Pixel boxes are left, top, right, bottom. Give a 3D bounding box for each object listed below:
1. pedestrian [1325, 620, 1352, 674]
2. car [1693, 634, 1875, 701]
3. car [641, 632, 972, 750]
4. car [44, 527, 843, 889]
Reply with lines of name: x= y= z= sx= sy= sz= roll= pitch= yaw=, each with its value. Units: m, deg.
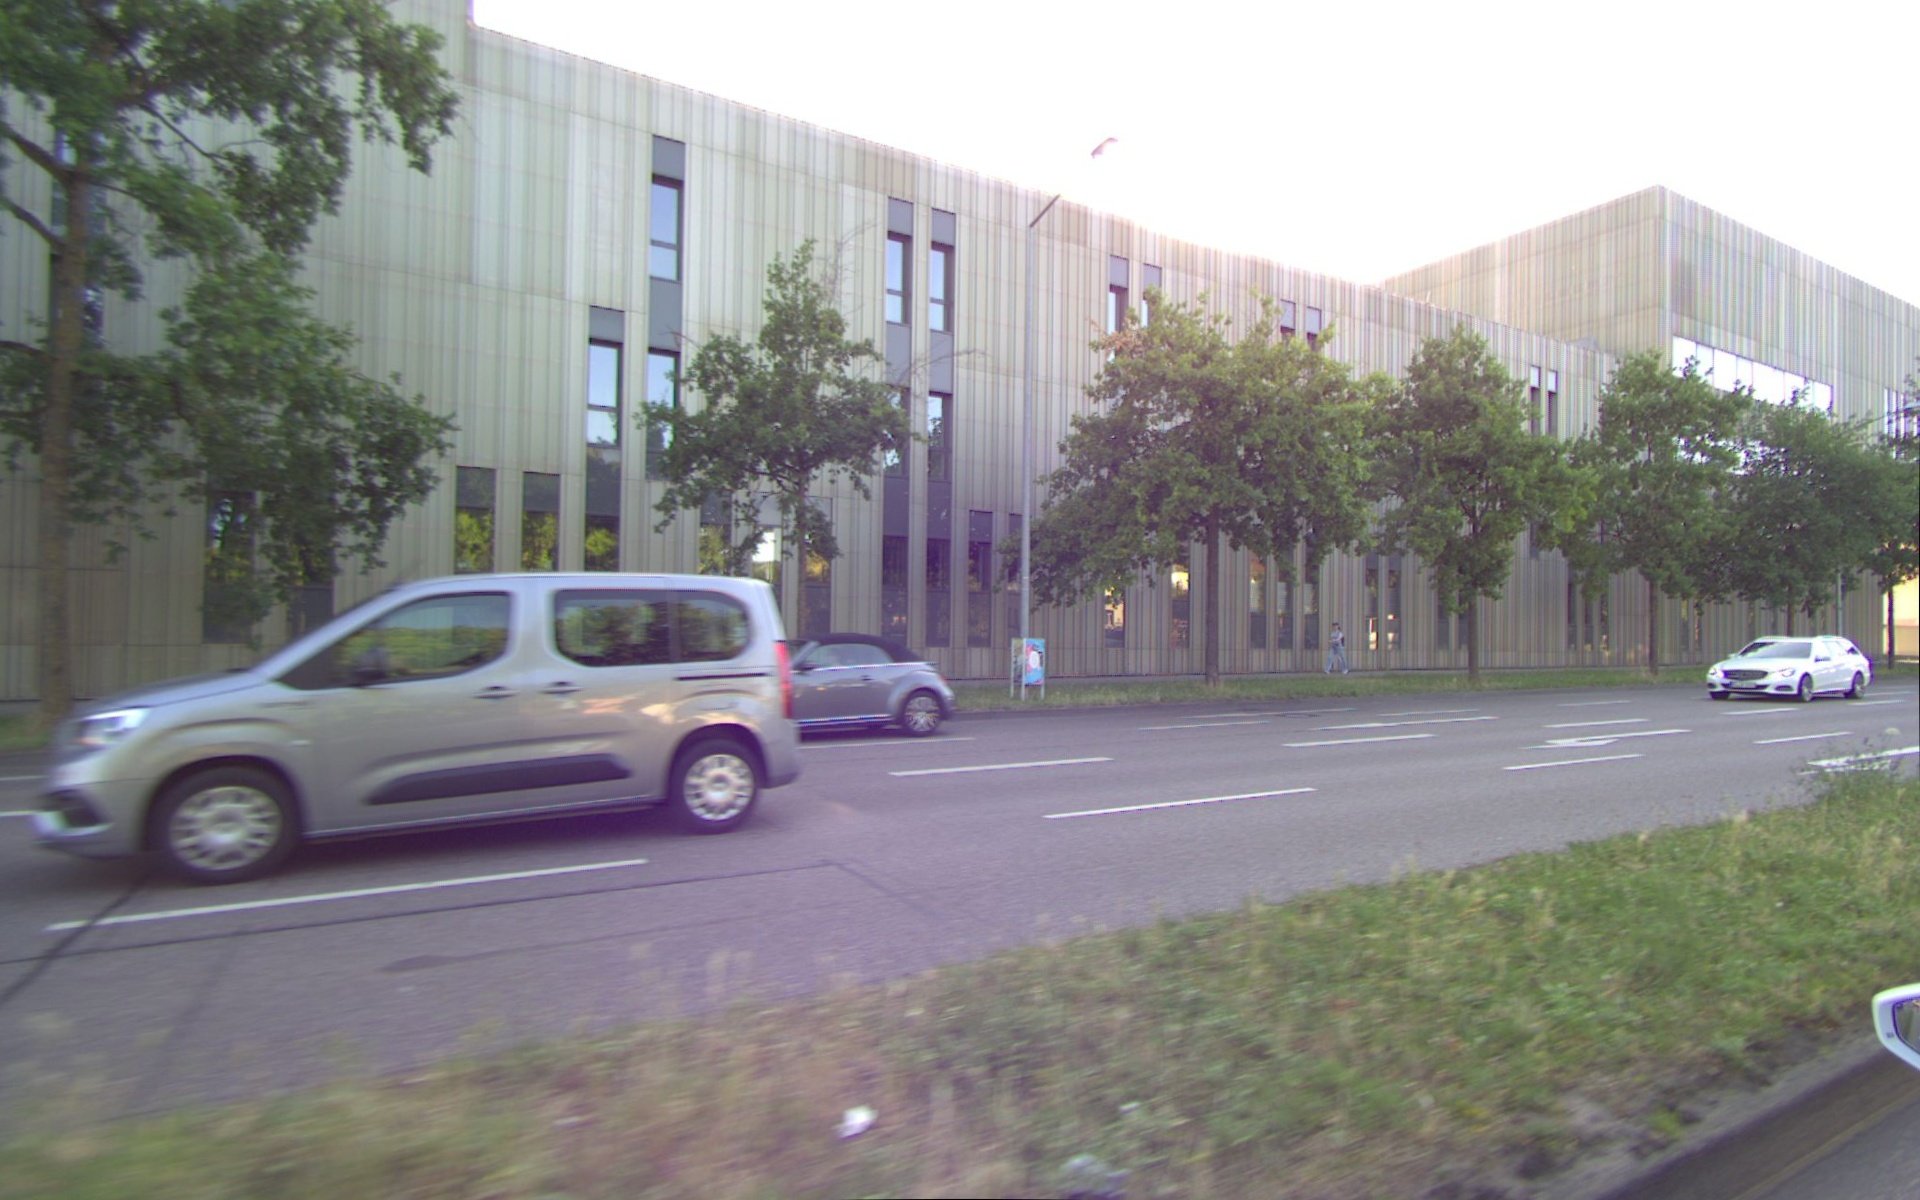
pedestrian: x=12.706 y=1.559 z=33.722 sx=0.641 sy=1.790 sz=0.600 roll=1 pitch=-1 yaw=-29
car: x=20.013 y=1.601 z=24.358 sx=4.758 sy=1.492 sz=1.837 roll=1 pitch=-3 yaw=-30
car: x=-2.179 y=1.221 z=14.587 sx=4.350 sy=1.476 sz=1.984 roll=2 pitch=-2 yaw=-31
car: x=-3.212 y=0.626 z=7.057 sx=4.347 sy=1.839 sz=1.985 roll=1 pitch=-2 yaw=-29
